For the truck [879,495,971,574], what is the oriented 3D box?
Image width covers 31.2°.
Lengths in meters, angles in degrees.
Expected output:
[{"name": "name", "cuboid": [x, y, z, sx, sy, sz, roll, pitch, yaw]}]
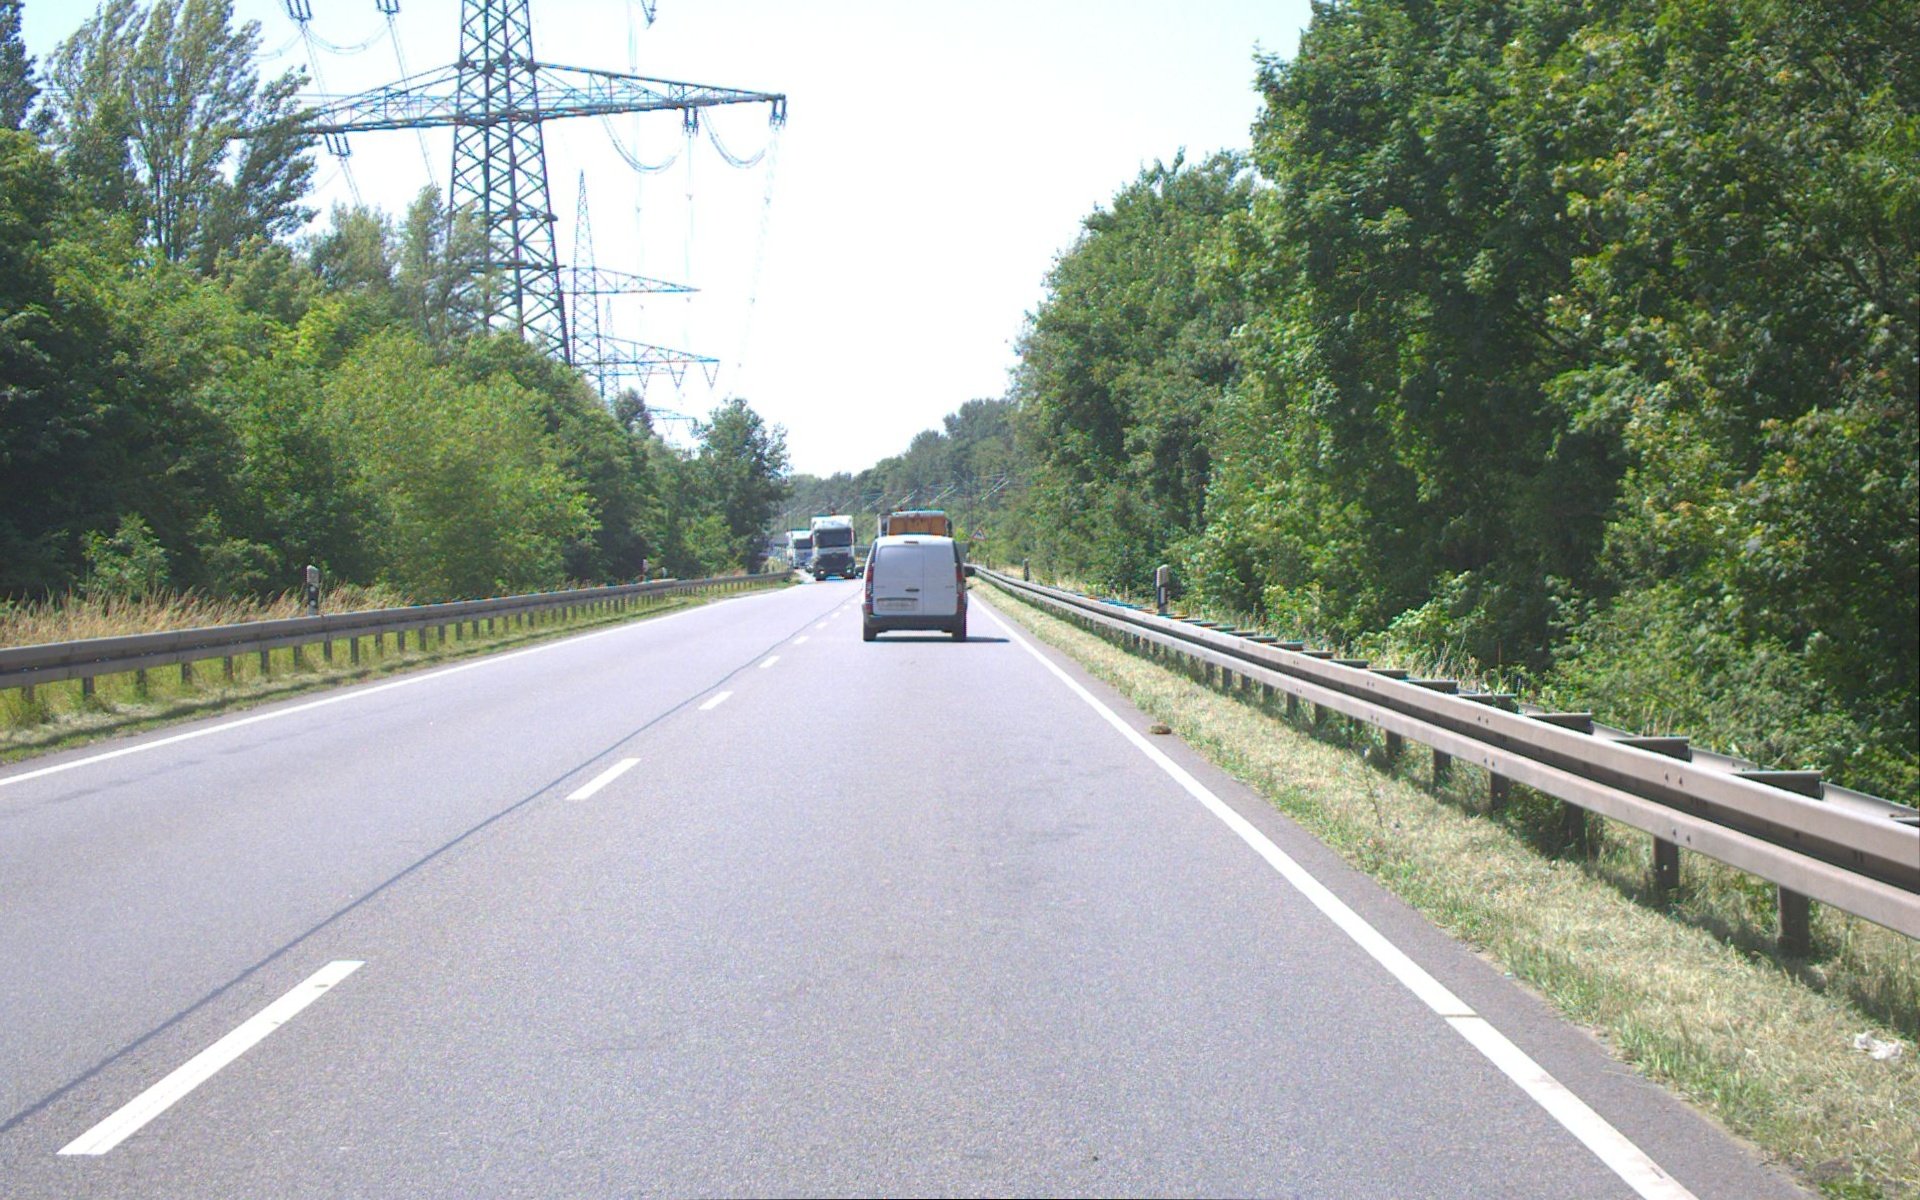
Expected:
[{"name": "truck", "cuboid": [-1.597, -2.895, 147.349, 3.296, 3.161, 14.407, 1, 2, -3]}]

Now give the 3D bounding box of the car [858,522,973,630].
[{"name": "car", "cuboid": [-0.769, -0.440, 58.858, 1.875, 1.735, 4.001, 1, 2, -1]}]

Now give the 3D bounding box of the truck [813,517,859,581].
[{"name": "truck", "cuboid": [-7.829, -3.230, 217.375, 2.763, 3.985, 5.907, 1, 1, -1]}]

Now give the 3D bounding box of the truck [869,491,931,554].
[{"name": "truck", "cuboid": [-3.933, -5.075, 222.109, 3.402, 3.841, 16.820, 1, 2, -3]}]
